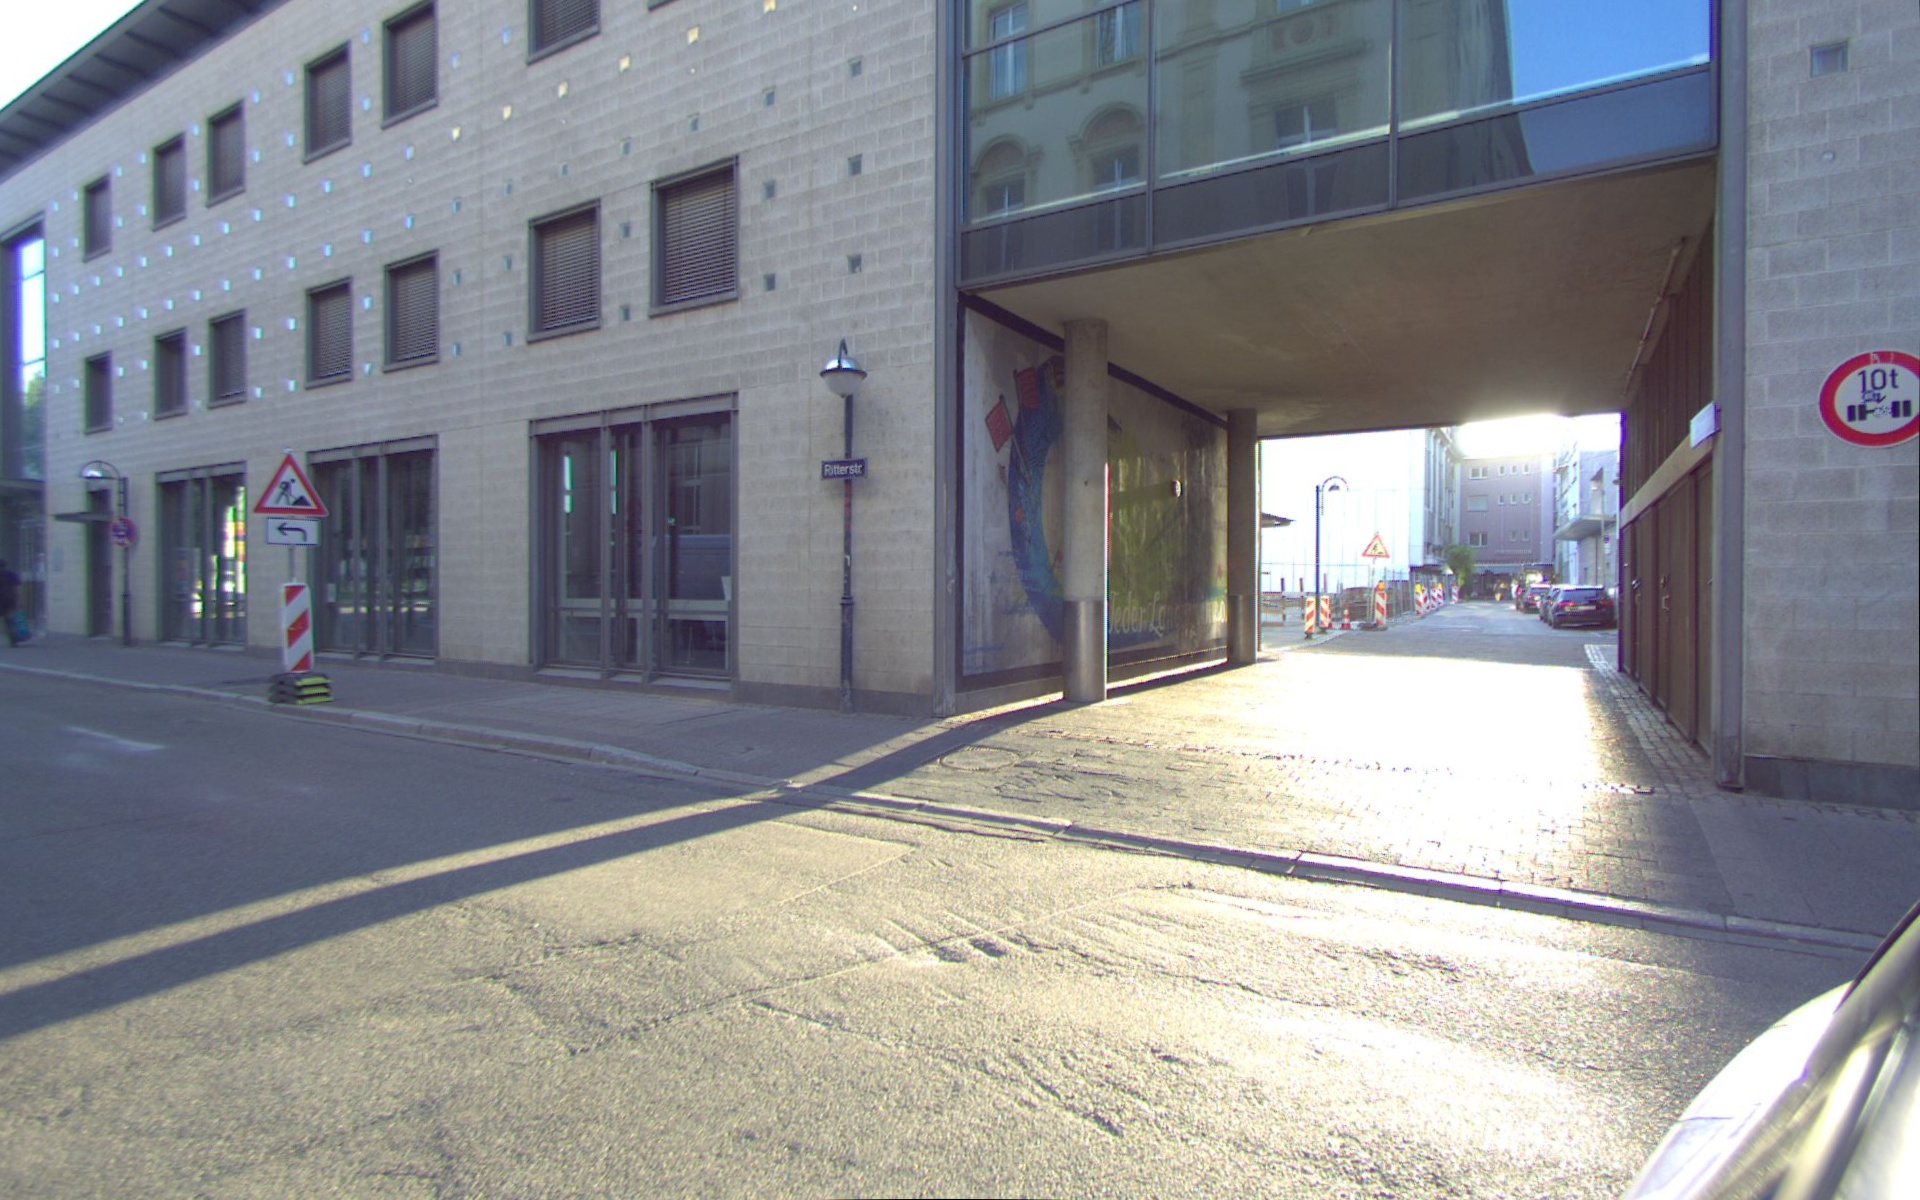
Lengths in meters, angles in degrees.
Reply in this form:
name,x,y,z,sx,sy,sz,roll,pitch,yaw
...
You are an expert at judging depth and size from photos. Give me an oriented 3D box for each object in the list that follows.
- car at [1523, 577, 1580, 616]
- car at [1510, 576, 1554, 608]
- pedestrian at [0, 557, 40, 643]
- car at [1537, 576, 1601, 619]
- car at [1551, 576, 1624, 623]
name,x,y,z,sx,sy,sz,roll,pitch,yaw
car,23.881,-0.189,40.941,1.584,1.512,3.417,1,1,24
car,28.634,-0.433,50.731,1.584,1.512,3.417,1,1,24
pedestrian,-19.593,-0.007,20.717,0.862,1.723,0.915,1,1,32
car,22.459,-0.142,37.421,1.584,1.512,3.417,1,1,24
car,21.006,-0.052,33.986,1.584,1.512,3.417,1,1,24
